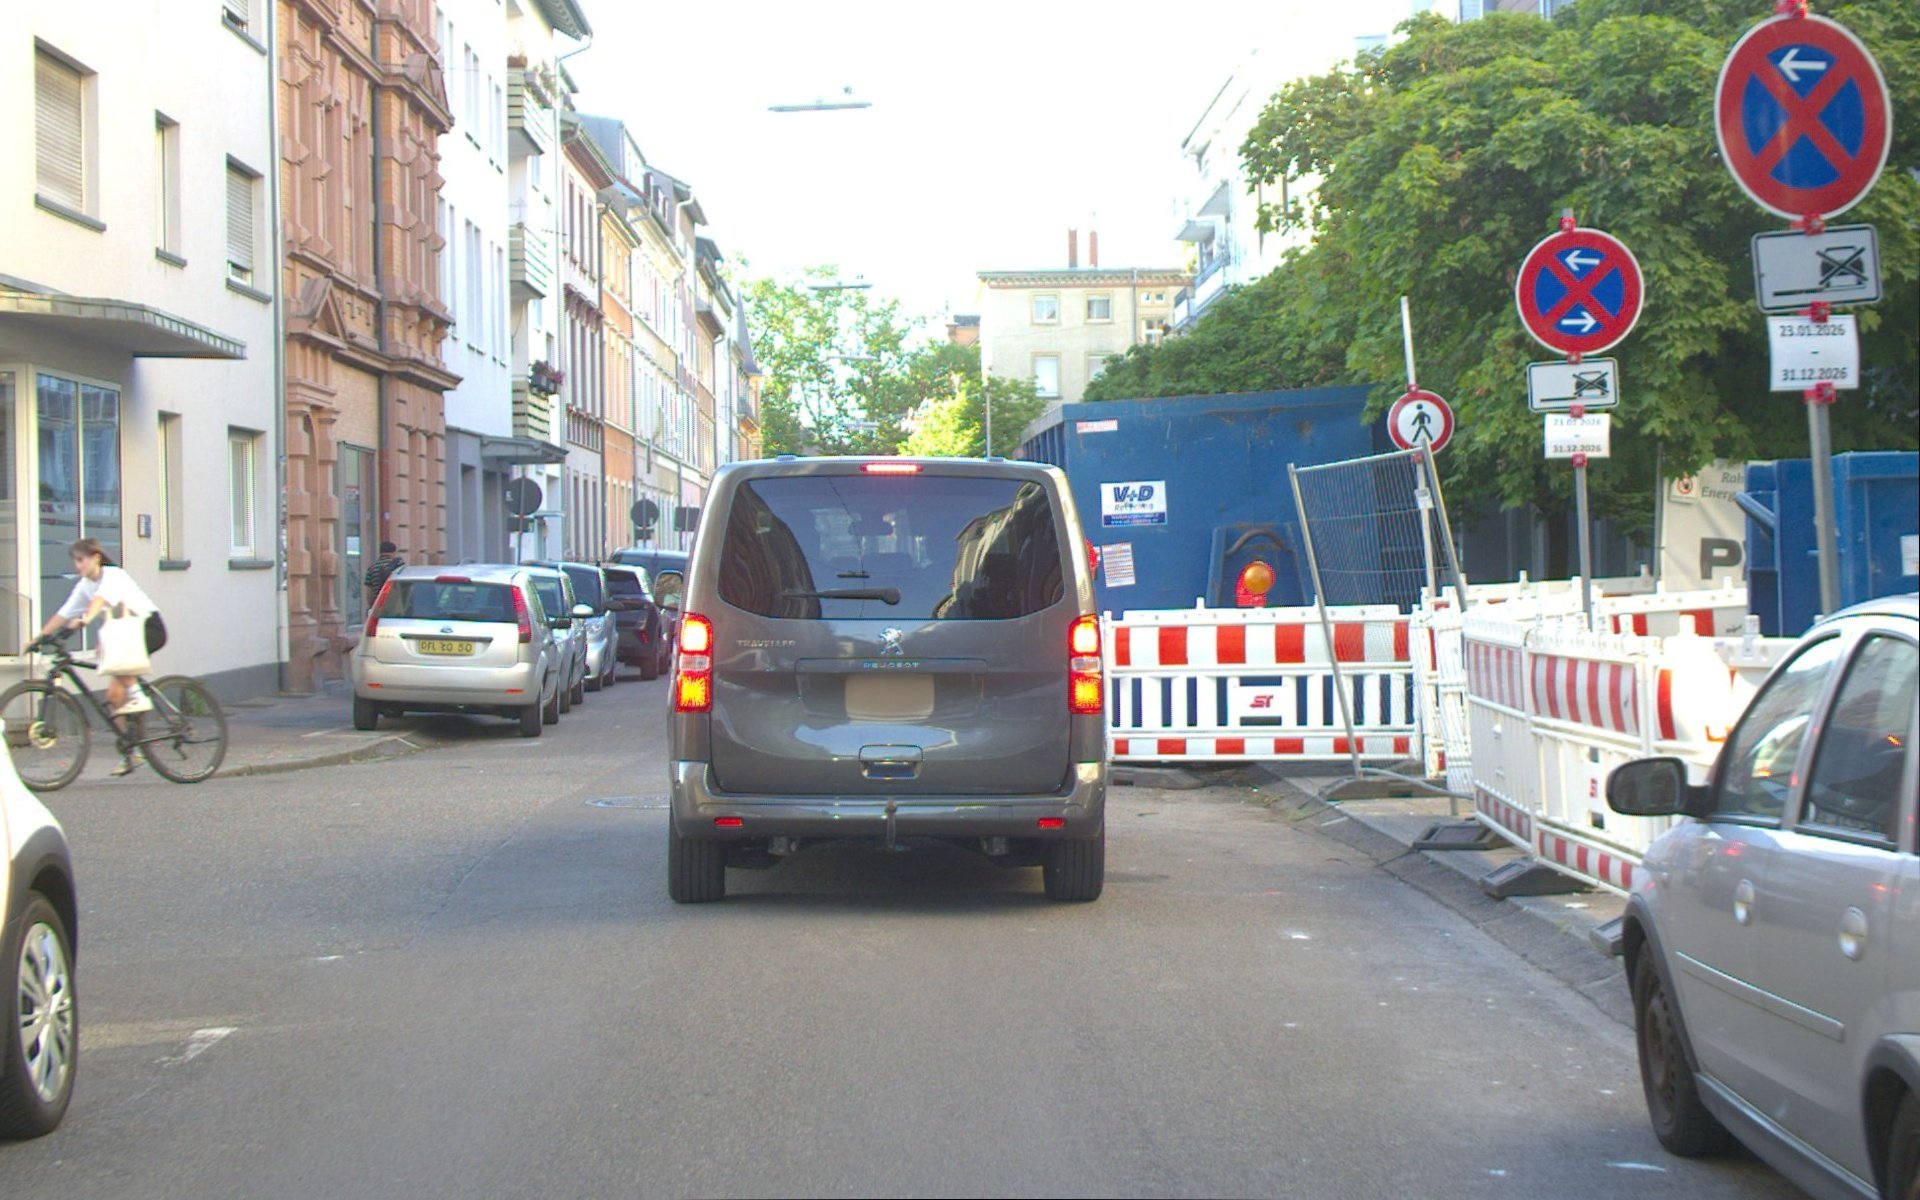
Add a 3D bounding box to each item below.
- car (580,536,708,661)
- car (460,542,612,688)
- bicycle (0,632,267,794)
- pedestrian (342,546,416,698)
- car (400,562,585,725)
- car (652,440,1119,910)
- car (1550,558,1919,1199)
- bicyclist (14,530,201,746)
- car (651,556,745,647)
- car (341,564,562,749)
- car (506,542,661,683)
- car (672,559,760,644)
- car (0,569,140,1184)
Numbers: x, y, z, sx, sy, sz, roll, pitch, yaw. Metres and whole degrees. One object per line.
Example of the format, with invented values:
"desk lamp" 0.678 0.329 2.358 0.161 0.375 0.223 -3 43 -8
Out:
"car" -5.164 -0.011 56.426 1.891 1.840 4.349 4 0 -5
"car" -5.320 0.190 43.417 1.666 1.660 3.092 4 0 -5
"bicycle" -5.728 0.734 23.064 0.734 1.024 2.110 1 0 40
"pedestrian" -6.445 0.235 38.162 0.740 1.659 0.704 -1 0 -5
"car" -4.893 0.441 36.316 1.656 1.520 3.418 4 0 -5
"car" -0.397 0.307 15.928 1.865 1.880 4.236 0 0 -3
"car" 2.390 0.645 7.301 1.676 1.471 3.729 -2 0 2
"bicyclist" -5.717 0.248 23.070 0.734 1.407 0.938 1 0 40
"car" -5.850 0.029 76.602 1.891 1.840 4.349 4 0 -5
"car" -4.525 0.487 30.993 1.656 1.455 3.418 4 0 -5
"car" -5.103 0.168 47.057 1.891 1.714 3.754 4 0 -5
"car" -5.804 0.040 81.528 1.891 1.840 4.349 4 0 -5
"car" -3.340 0.737 7.914 1.920 1.502 4.267 -3 1 -1
